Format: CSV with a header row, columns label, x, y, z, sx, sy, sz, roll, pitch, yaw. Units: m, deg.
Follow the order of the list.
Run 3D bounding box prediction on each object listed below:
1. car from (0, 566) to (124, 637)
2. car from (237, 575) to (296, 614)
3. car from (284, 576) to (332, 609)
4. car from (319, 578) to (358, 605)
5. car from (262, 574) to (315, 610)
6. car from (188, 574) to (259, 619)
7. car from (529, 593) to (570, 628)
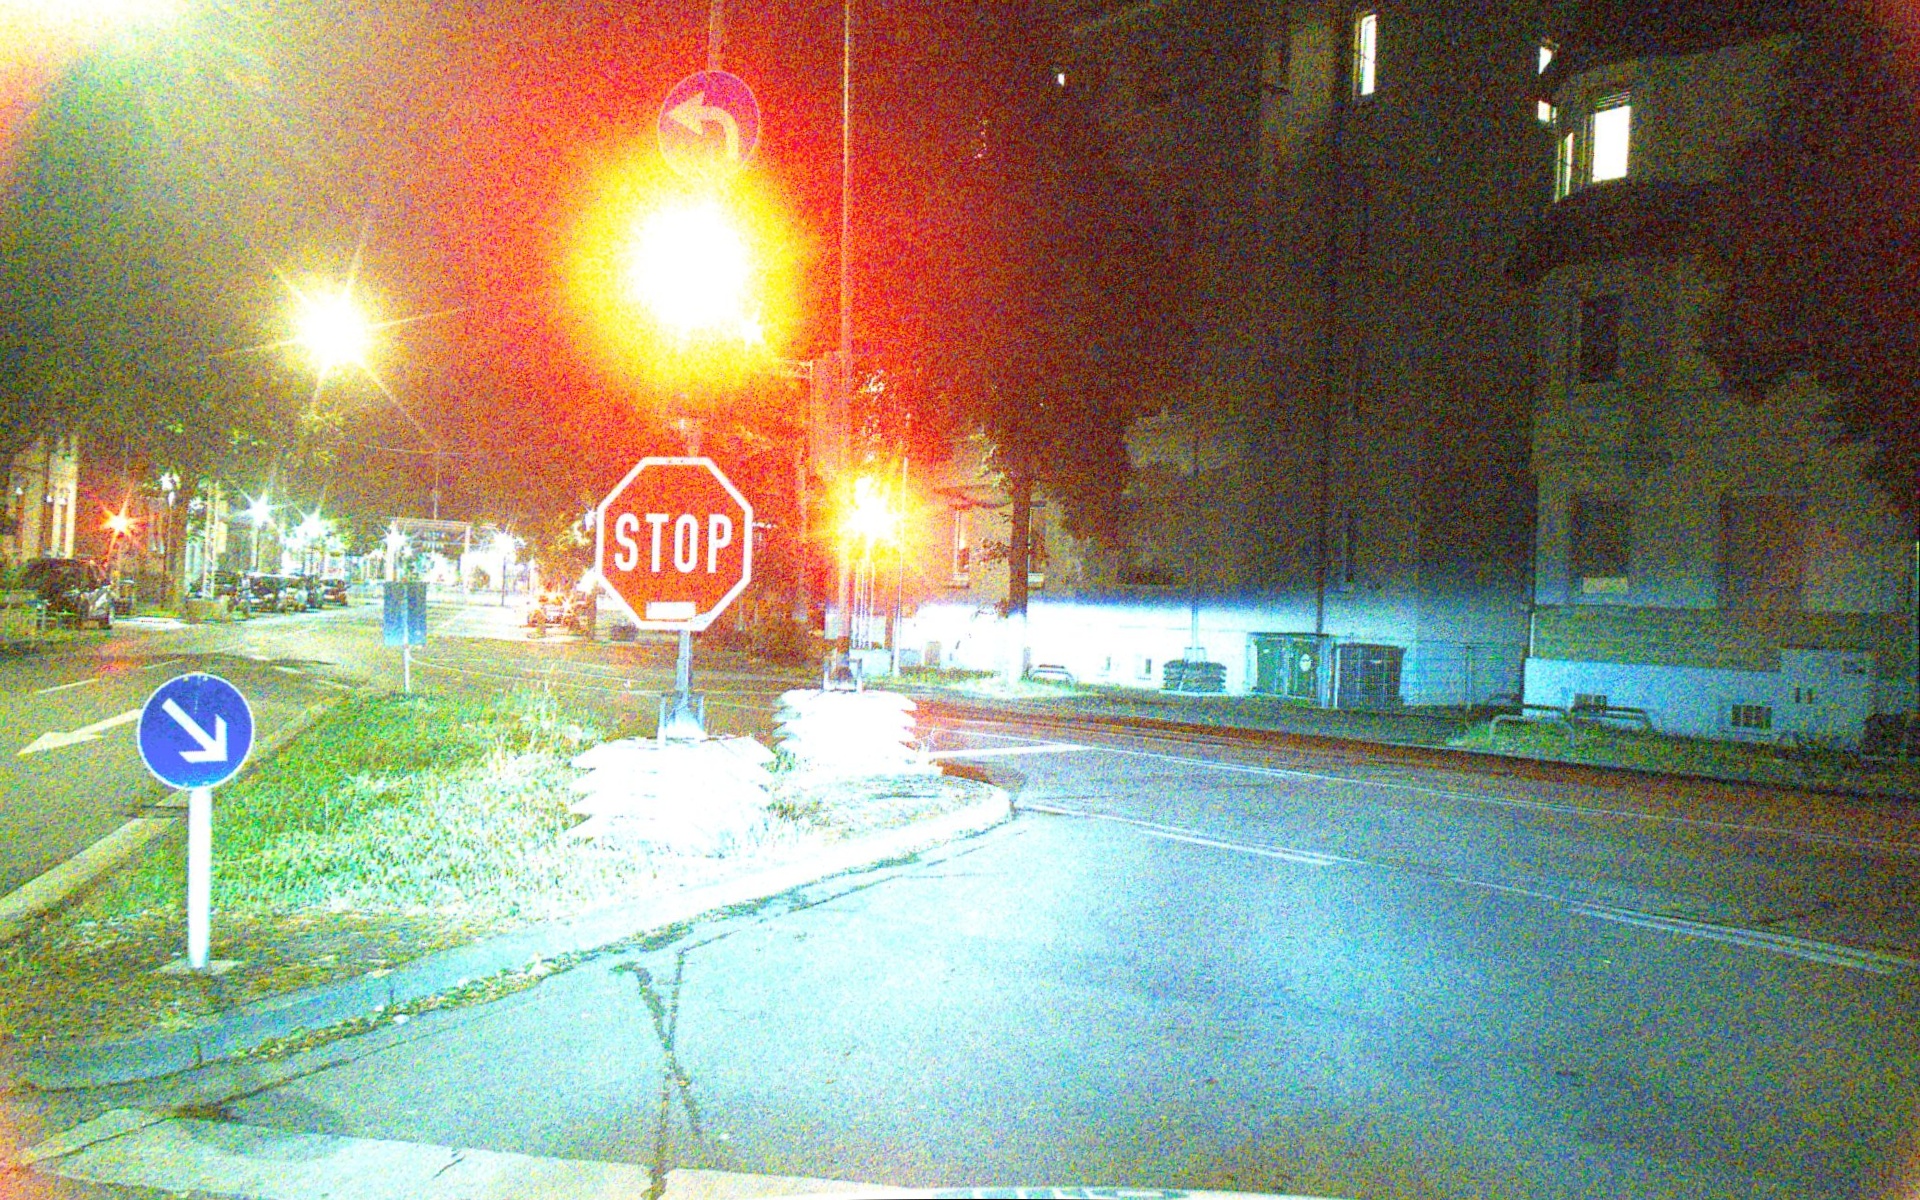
label,x,y,z,sx,sy,sz,roll,pitch,yaw
car,-20.214,0.020,37.267,1.624,1.456,3.983,2,0,-15
car,-27.673,-0.208,66.082,1.624,1.456,3.983,2,0,-15
car,-30.915,-0.343,78.513,1.624,1.456,3.983,2,0,-15
car,-34.446,-0.469,91.730,1.624,1.456,3.983,2,0,-15
car,-29.233,-0.344,72.086,1.624,1.456,3.983,2,0,-15
car,-25.817,-0.132,58.094,1.624,1.456,3.983,2,0,-15
car,-17.788,0.436,71.608,1.623,1.456,3.985,2,0,-14
